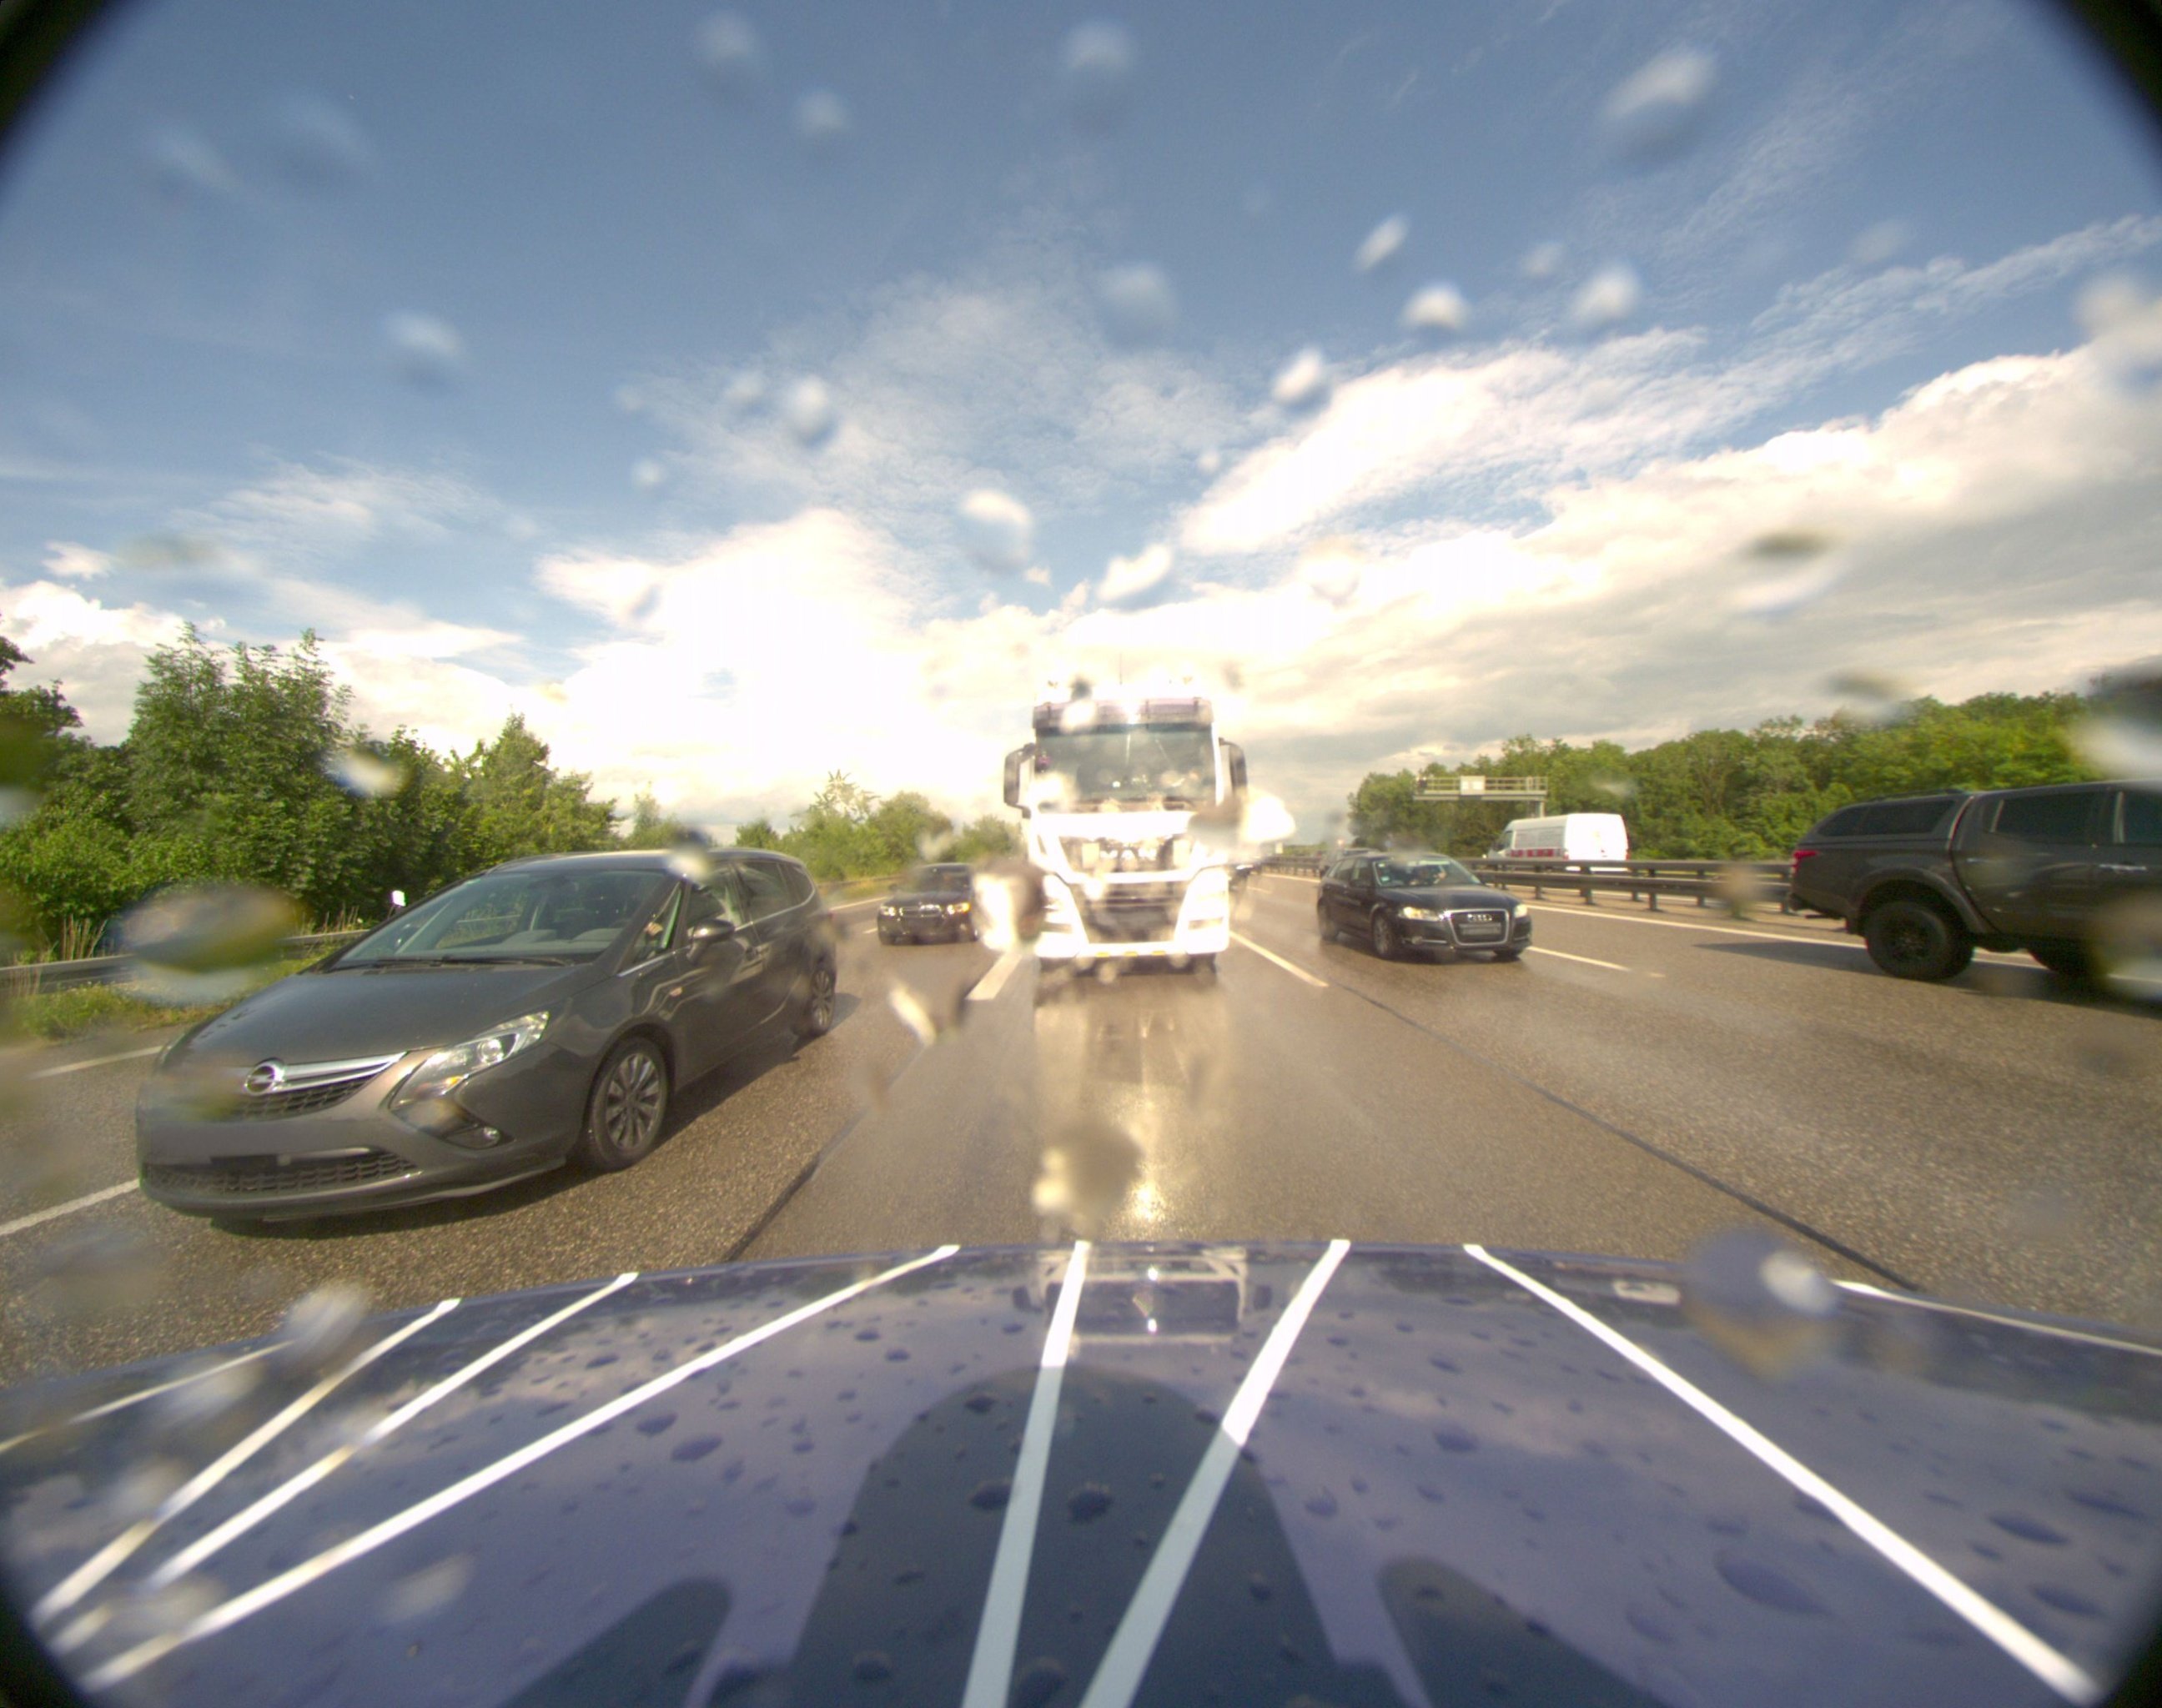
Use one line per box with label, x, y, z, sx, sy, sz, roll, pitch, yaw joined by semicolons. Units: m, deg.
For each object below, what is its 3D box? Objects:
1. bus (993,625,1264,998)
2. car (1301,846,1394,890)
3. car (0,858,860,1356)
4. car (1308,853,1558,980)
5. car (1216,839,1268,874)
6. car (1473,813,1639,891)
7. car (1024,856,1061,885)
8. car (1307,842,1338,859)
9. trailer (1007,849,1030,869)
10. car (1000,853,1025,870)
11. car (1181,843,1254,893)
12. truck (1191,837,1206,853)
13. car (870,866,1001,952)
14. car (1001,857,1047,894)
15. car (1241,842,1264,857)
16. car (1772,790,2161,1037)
bus;0.620;-0.492;13.509;2.904;4.104;9.845;-2;0;1
car;9.576;0.449;27.675;1.925;1.416;4.372;-2;1;1
car;-3.143;0.893;4.970;1.858;1.622;4.735;-2;0;1
car;4.733;0.731;10.933;1.754;1.425;4.054;-2;0;1
car;9.641;0.133;45.941;1.998;1.906;5.235;-2;1;0
car;16.553;-0.091;27.013;2.119;2.382;6.102;-2;0;1
car;-2.113;0.898;42.798;1.858;1.434;3.999;-2;1;0
car;21.970;-0.318;69.216;1.754;1.425;3.635;-2;0;3
trailer;-5.969;0.460;73.155;1.810;1.736;3.967;-3;1;1
car;-6.155;0.659;68.990;1.747;1.422;4.404;-2;1;2
car;5.078;0.466;28.860;1.881;1.669;4.625;-2;0;0
truck;30.901;-2.349;200.035;2.799;3.861;8.919;-2;0;3
car;-2.679;0.970;14.885;1.722;1.346;3.884;-2;0;1
car;-2.349;0.870;31.986;1.744;1.357;3.998;-2;0;-3
car;18.008;-0.432;79.871;1.680;1.477;3.703;-2;0;1
car;8.933;0.412;6.147;1.811;1.833;5.418;-2;0;1
